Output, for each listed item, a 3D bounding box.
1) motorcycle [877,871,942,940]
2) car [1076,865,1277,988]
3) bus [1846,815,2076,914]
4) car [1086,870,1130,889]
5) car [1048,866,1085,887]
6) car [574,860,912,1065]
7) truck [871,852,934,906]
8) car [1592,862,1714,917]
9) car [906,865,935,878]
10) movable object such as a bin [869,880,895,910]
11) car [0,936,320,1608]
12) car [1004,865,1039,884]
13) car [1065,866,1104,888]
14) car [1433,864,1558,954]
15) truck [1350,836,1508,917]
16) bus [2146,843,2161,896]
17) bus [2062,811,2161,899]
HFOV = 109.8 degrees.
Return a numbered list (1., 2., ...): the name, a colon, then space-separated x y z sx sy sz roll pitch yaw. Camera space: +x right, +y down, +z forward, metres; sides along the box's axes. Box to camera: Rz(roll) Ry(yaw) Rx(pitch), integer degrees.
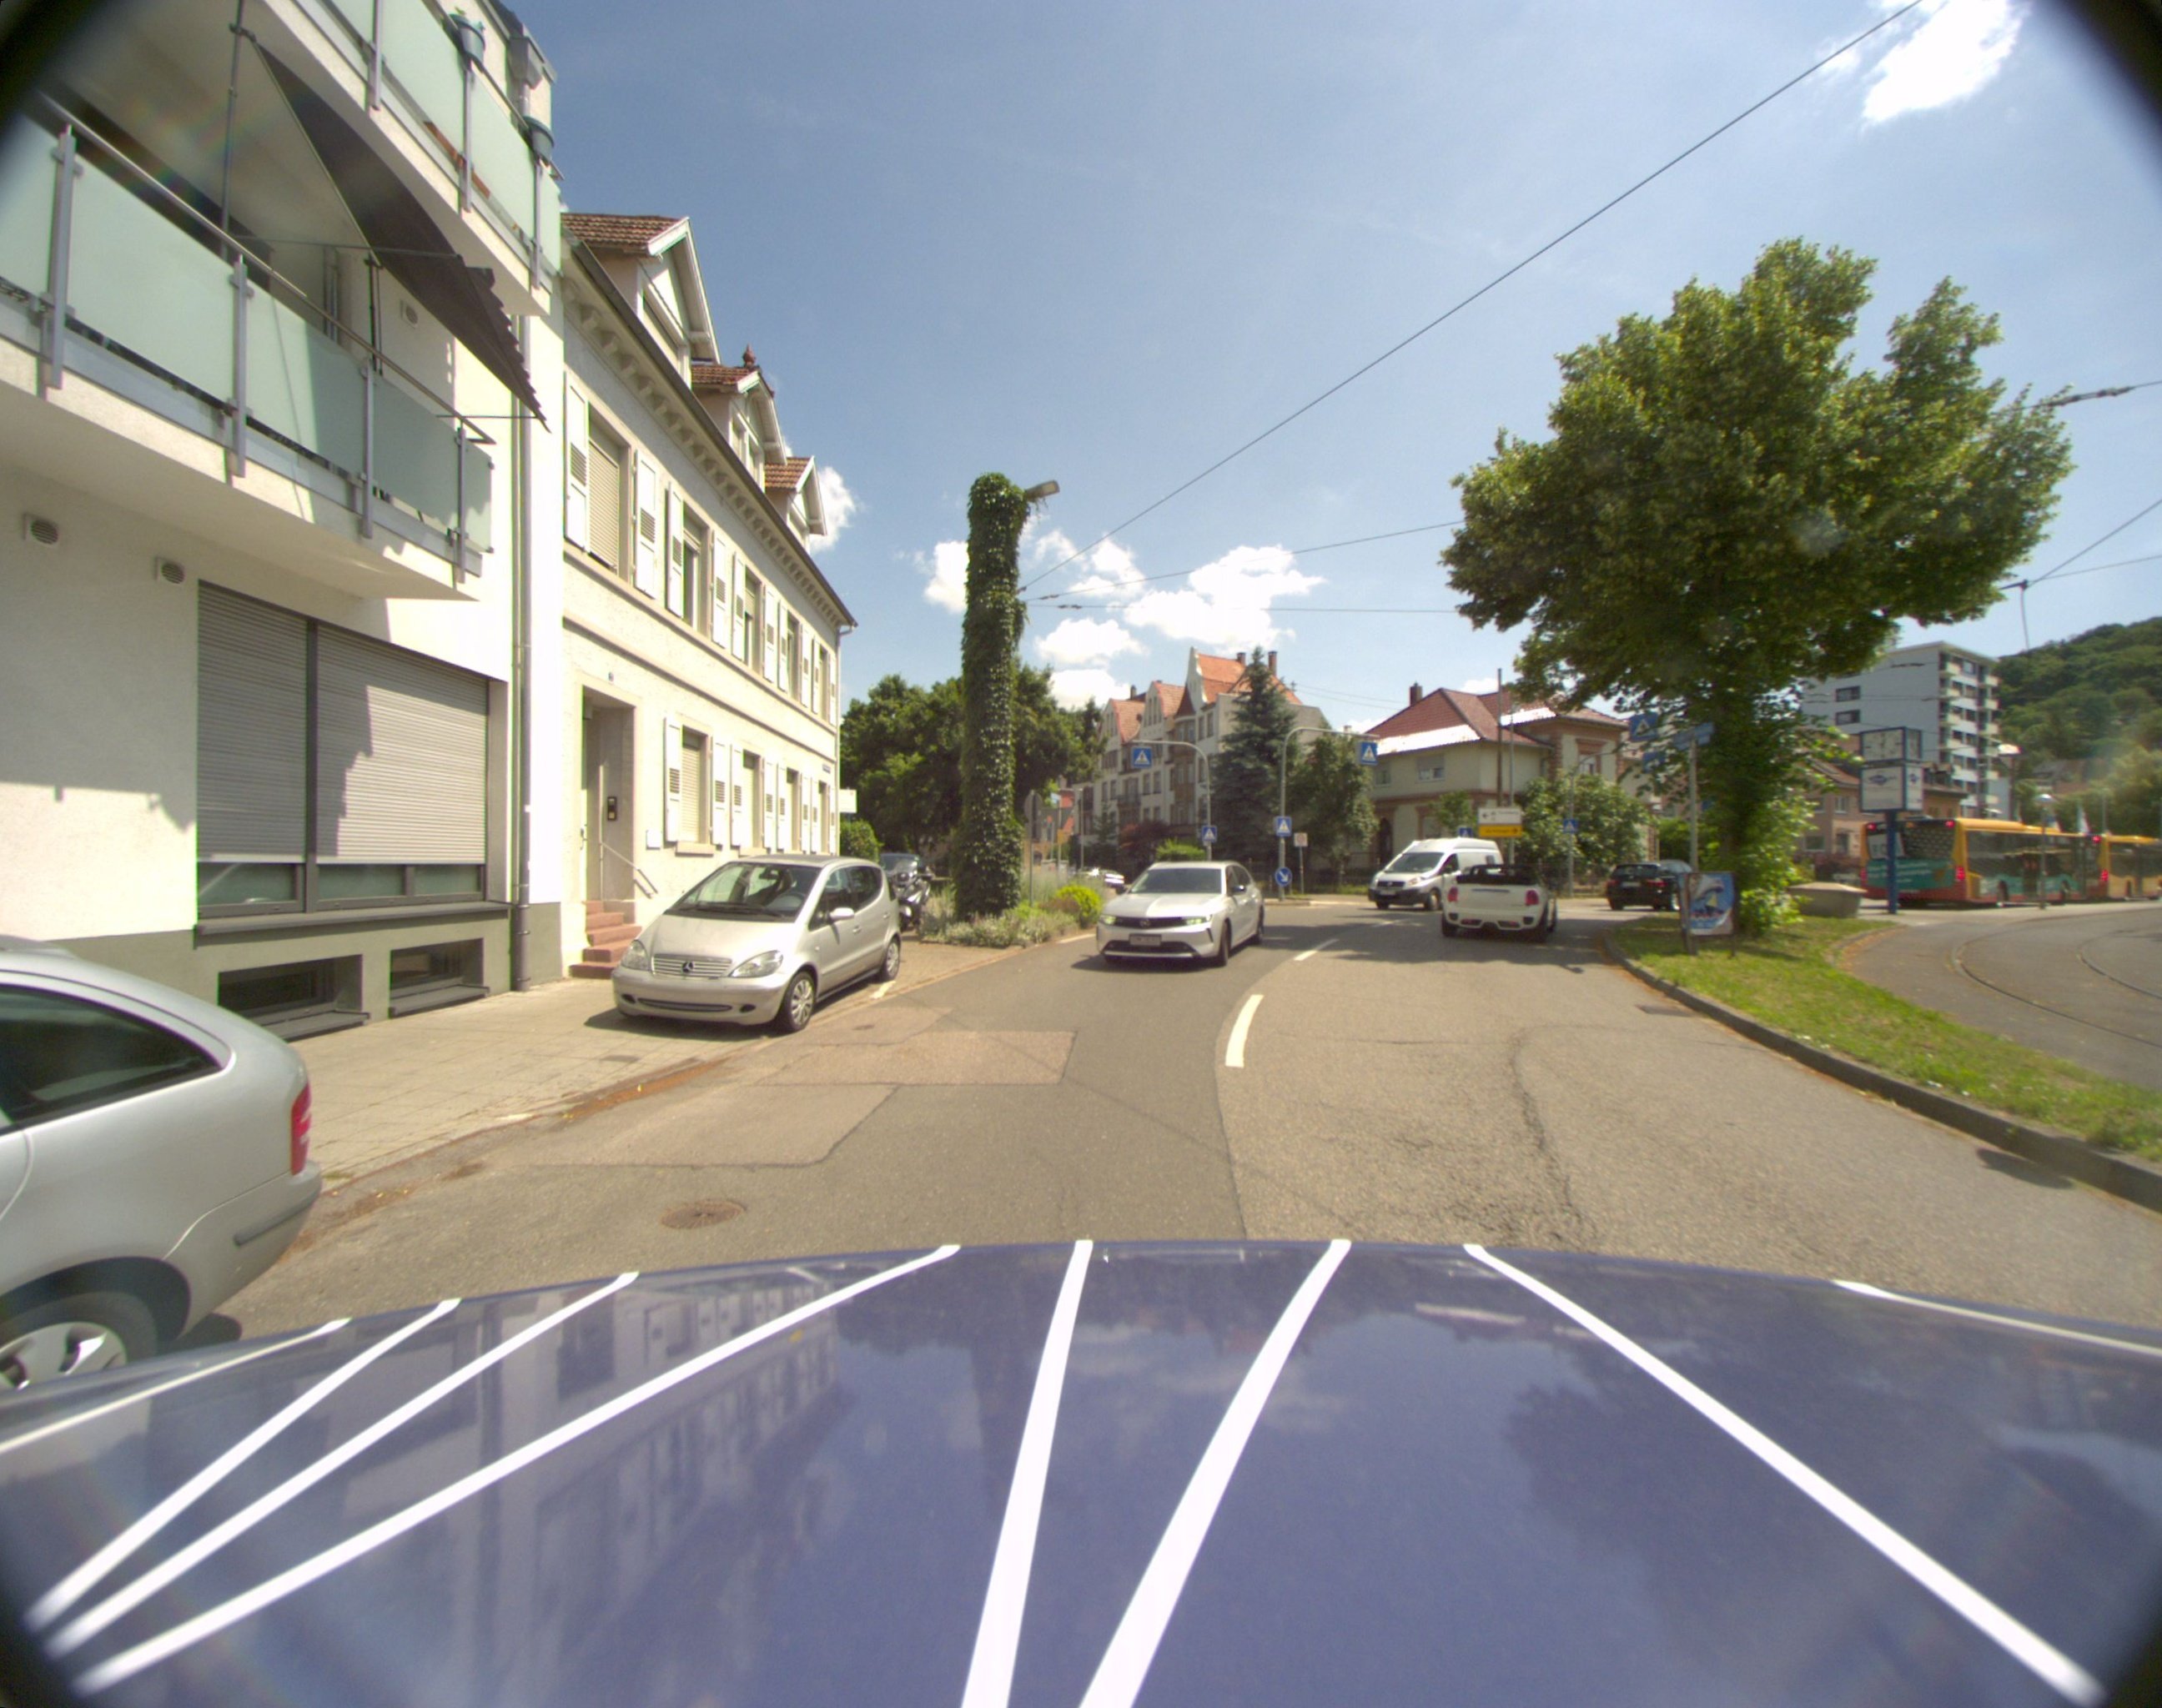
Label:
1. motorcycle: -3.620 1.054 16.278 0.802 1.344 2.338 0 0 1
2. car: 1.681 0.944 11.787 1.798 1.457 4.178 -1 0 26
3. bus: 33.268 0.472 28.589 10.873 3.277 2.703 1 -1 -25
4. car: 1.888 1.822 54.274 1.820 1.318 3.994 1 -2 -18
5. car: -1.237 1.880 63.869 1.777 1.506 3.993 6 -3 -21
6. car: -3.287 0.923 8.301 1.730 1.601 3.801 2 1 4
7. truck: -7.137 0.957 29.975 1.918 1.914 5.273 2 -2 -18
8. car: 18.716 1.117 24.823 4.337 1.622 1.857 1 -1 -34
9. car: -20.257 2.236 95.973 2.004 1.608 4.174 0 -1 -38
10. movable object such as a bin: -6.664 1.373 25.449 0.616 0.955 0.635 0 0 14
11. car: -3.351 0.973 0.392 1.731 1.424 4.043 4 0 1
12. car: -5.819 1.962 74.187 1.778 1.604 3.866 6 -3 -30
13. car: 0.222 1.739 59.029 1.777 1.506 3.994 6 -2 -18
14. car: 8.183 0.947 14.846 1.774 1.455 3.755 0 0 34
15. truck: 10.748 0.689 23.273 5.419 2.235 2.016 1 -2 -36
16. bus: 69.226 0.983 47.091 10.172 3.170 2.570 1 0 -29
17. bus: 48.840 0.140 34.669 12.226 3.586 2.691 1 0 -27
